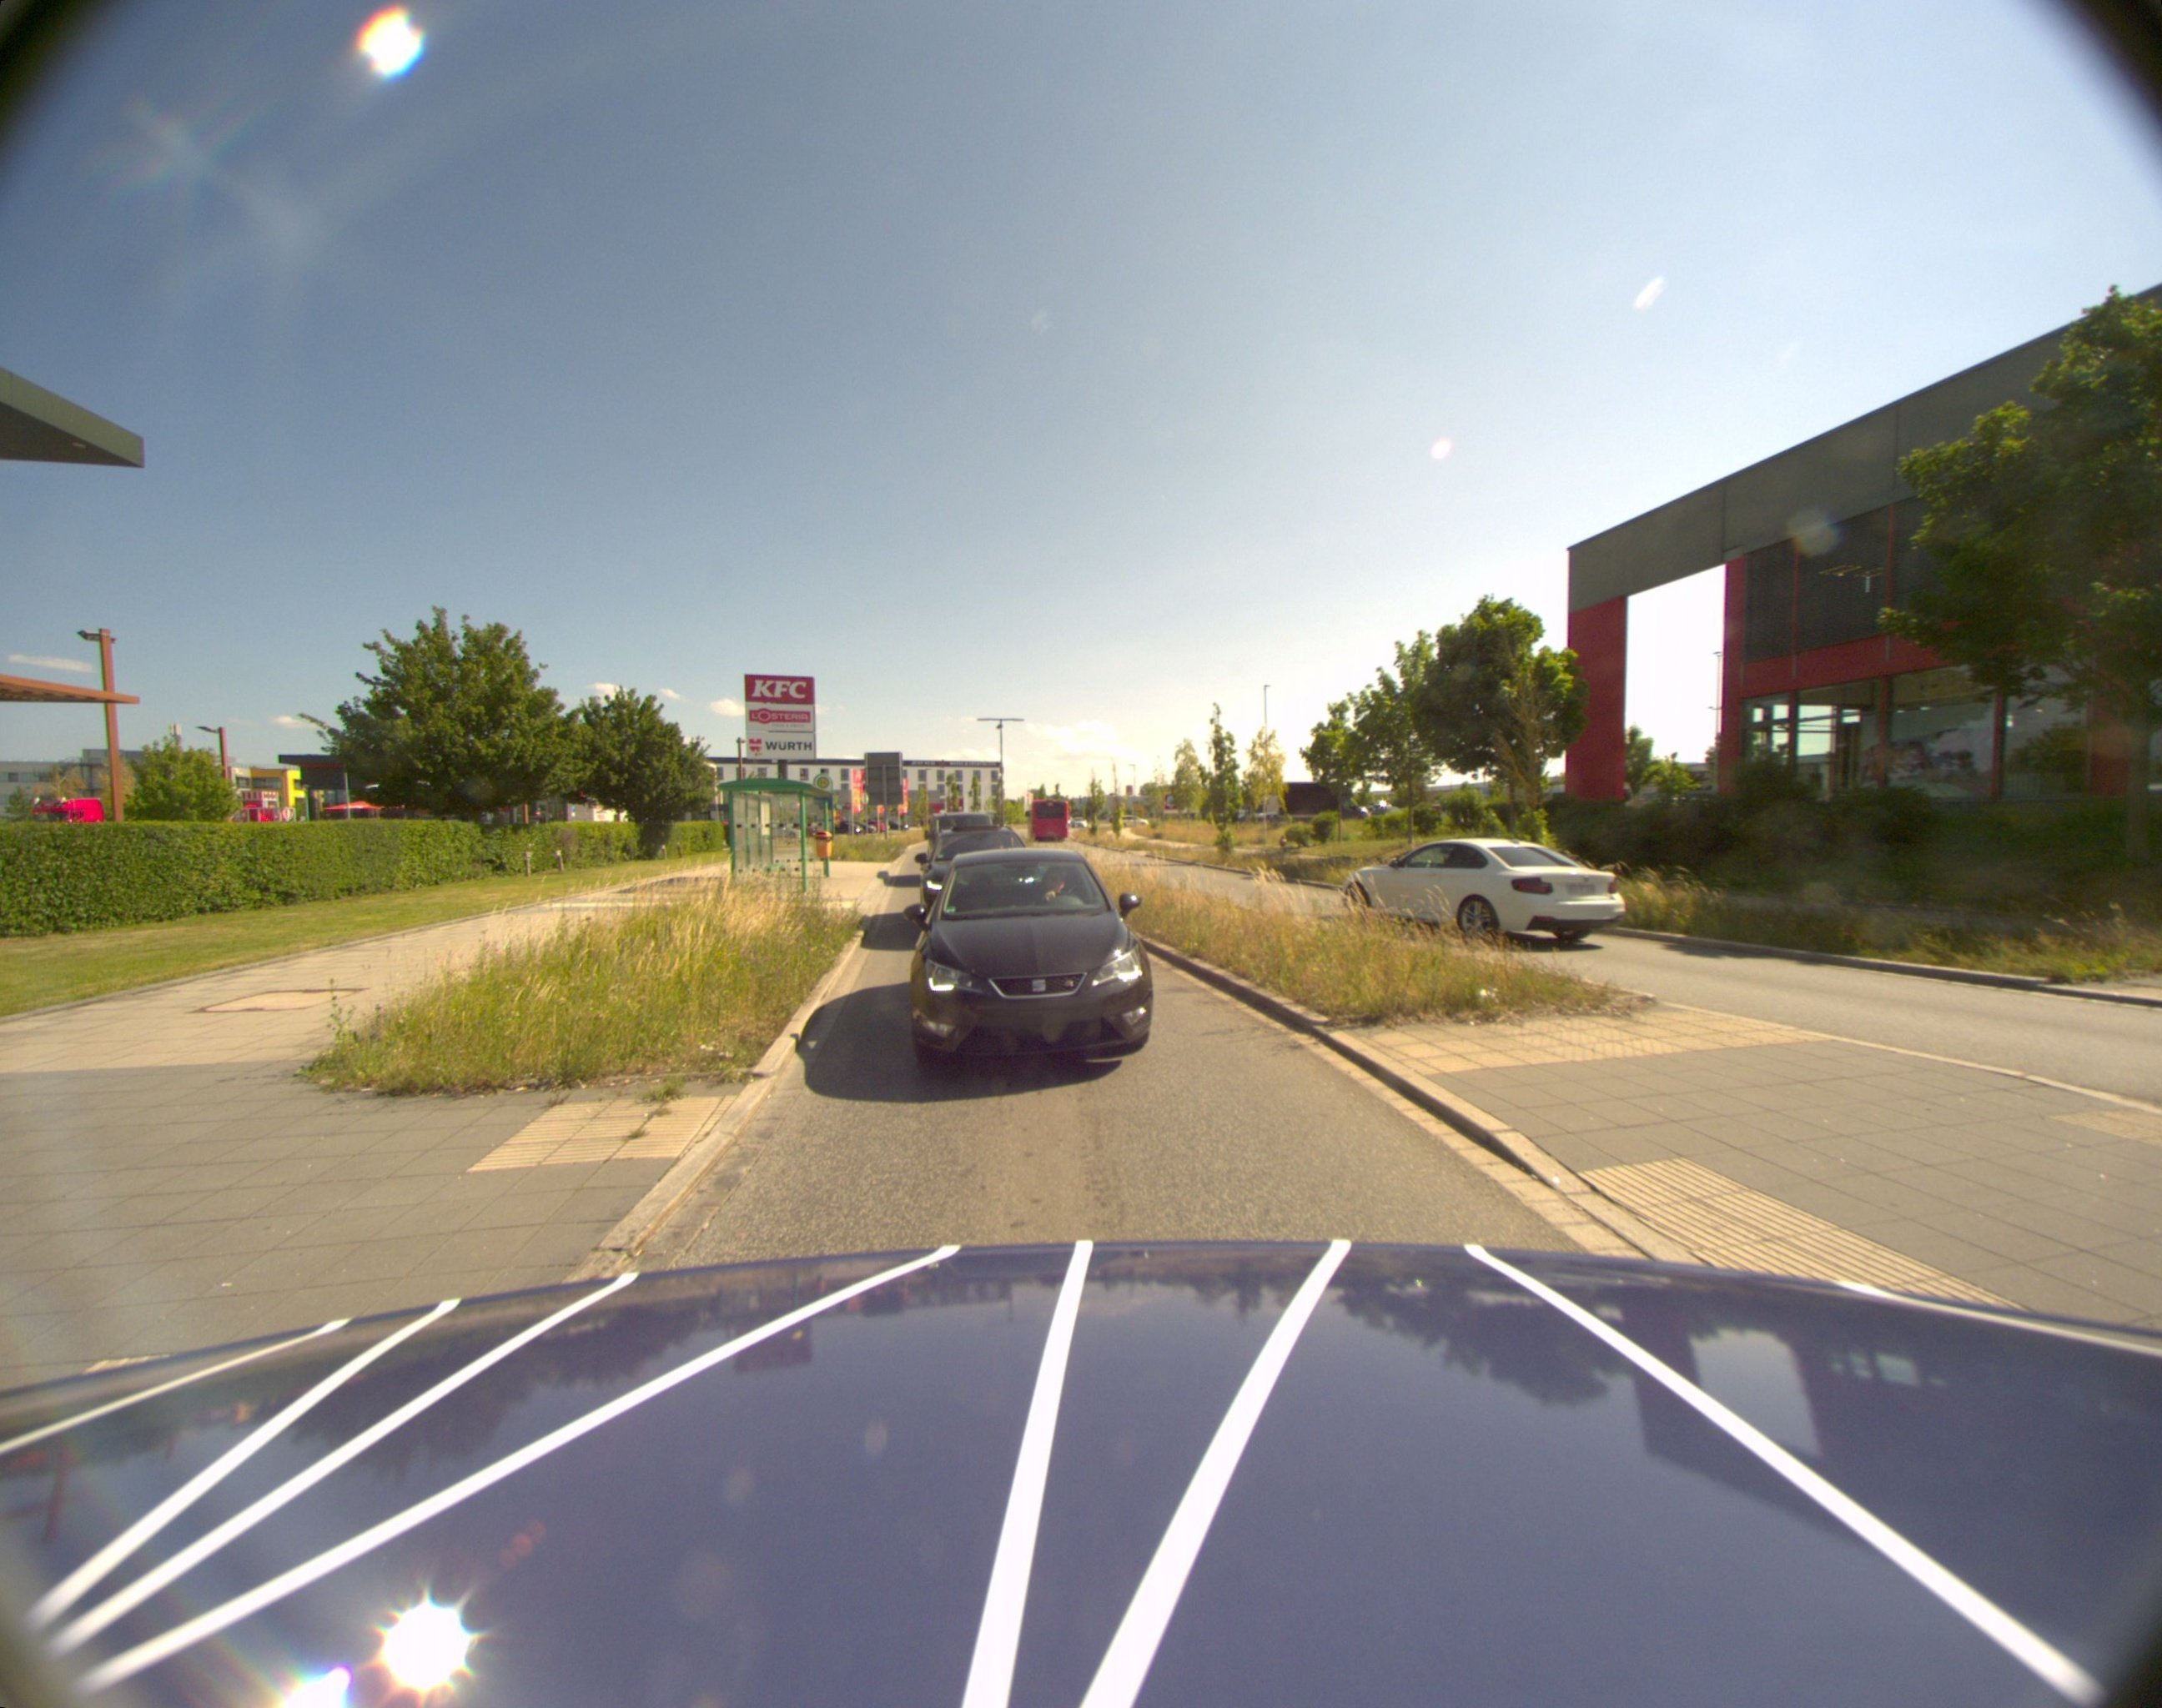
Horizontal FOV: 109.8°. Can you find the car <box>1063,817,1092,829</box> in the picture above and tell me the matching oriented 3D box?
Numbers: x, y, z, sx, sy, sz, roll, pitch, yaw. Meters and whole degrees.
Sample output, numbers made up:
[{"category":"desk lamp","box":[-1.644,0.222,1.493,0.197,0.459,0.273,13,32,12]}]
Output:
[{"category":"car","box":[-0.527,-4.378,106.835,3.934,1.667,1.622,2,3,41]}]

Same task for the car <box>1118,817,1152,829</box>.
[{"category":"car","box":[7.305,-4.215,102.700,4.284,1.667,1.616,-1,3,-14]}]

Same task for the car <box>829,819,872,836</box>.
[{"category":"car","box":[-26.379,-3.008,87.001,4.181,1.847,1.803,0,3,7]}]

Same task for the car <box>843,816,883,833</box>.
[{"category":"car","box":[-26.408,-3.620,92.119,4.183,2.003,1.932,-1,3,1]}]

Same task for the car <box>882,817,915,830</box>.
[{"category":"car","box":[-24.459,-4.071,101.841,3.821,1.611,1.756,-1,3,2]}]

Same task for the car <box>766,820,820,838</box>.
[{"category":"car","box":[-27.661,-2.426,72.994,4.442,1.644,1.931,-1,3,-4]}]

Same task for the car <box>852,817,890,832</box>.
[{"category":"car","box":[-26.355,-3.714,95.459,4.182,1.752,1.824,0,3,6]}]

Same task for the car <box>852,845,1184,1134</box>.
[{"category":"car","box":[-0.543,0.761,6.437,1.863,1.460,3.996,-3,3,-6]}]

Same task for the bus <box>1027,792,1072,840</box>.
[{"category":"bus","box":[-2.608,-2.862,58.293,2.617,3.224,11.868,-1,2,-6]}]

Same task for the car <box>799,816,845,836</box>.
[{"category":"car","box":[-27.508,-2.974,80.796,4.183,2.003,1.933,-1,3,3]}]

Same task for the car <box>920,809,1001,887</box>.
[{"category":"car","box":[-3.671,-0.294,23.247,2.080,2.038,4.676,-4,4,-9]}]

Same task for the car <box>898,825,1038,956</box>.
[{"category":"car","box":[-1.890,0.435,12.739,1.863,1.679,3.995,-4,4,-9]}]

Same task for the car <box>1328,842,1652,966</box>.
[{"category":"car","box":[5.839,0.576,11.598,1.798,1.408,4.374,0,2,-15]}]

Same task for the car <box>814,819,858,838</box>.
[{"category":"car","box":[-27.238,-2.830,84.696,4.183,2.003,1.933,-1,3,3]}]
